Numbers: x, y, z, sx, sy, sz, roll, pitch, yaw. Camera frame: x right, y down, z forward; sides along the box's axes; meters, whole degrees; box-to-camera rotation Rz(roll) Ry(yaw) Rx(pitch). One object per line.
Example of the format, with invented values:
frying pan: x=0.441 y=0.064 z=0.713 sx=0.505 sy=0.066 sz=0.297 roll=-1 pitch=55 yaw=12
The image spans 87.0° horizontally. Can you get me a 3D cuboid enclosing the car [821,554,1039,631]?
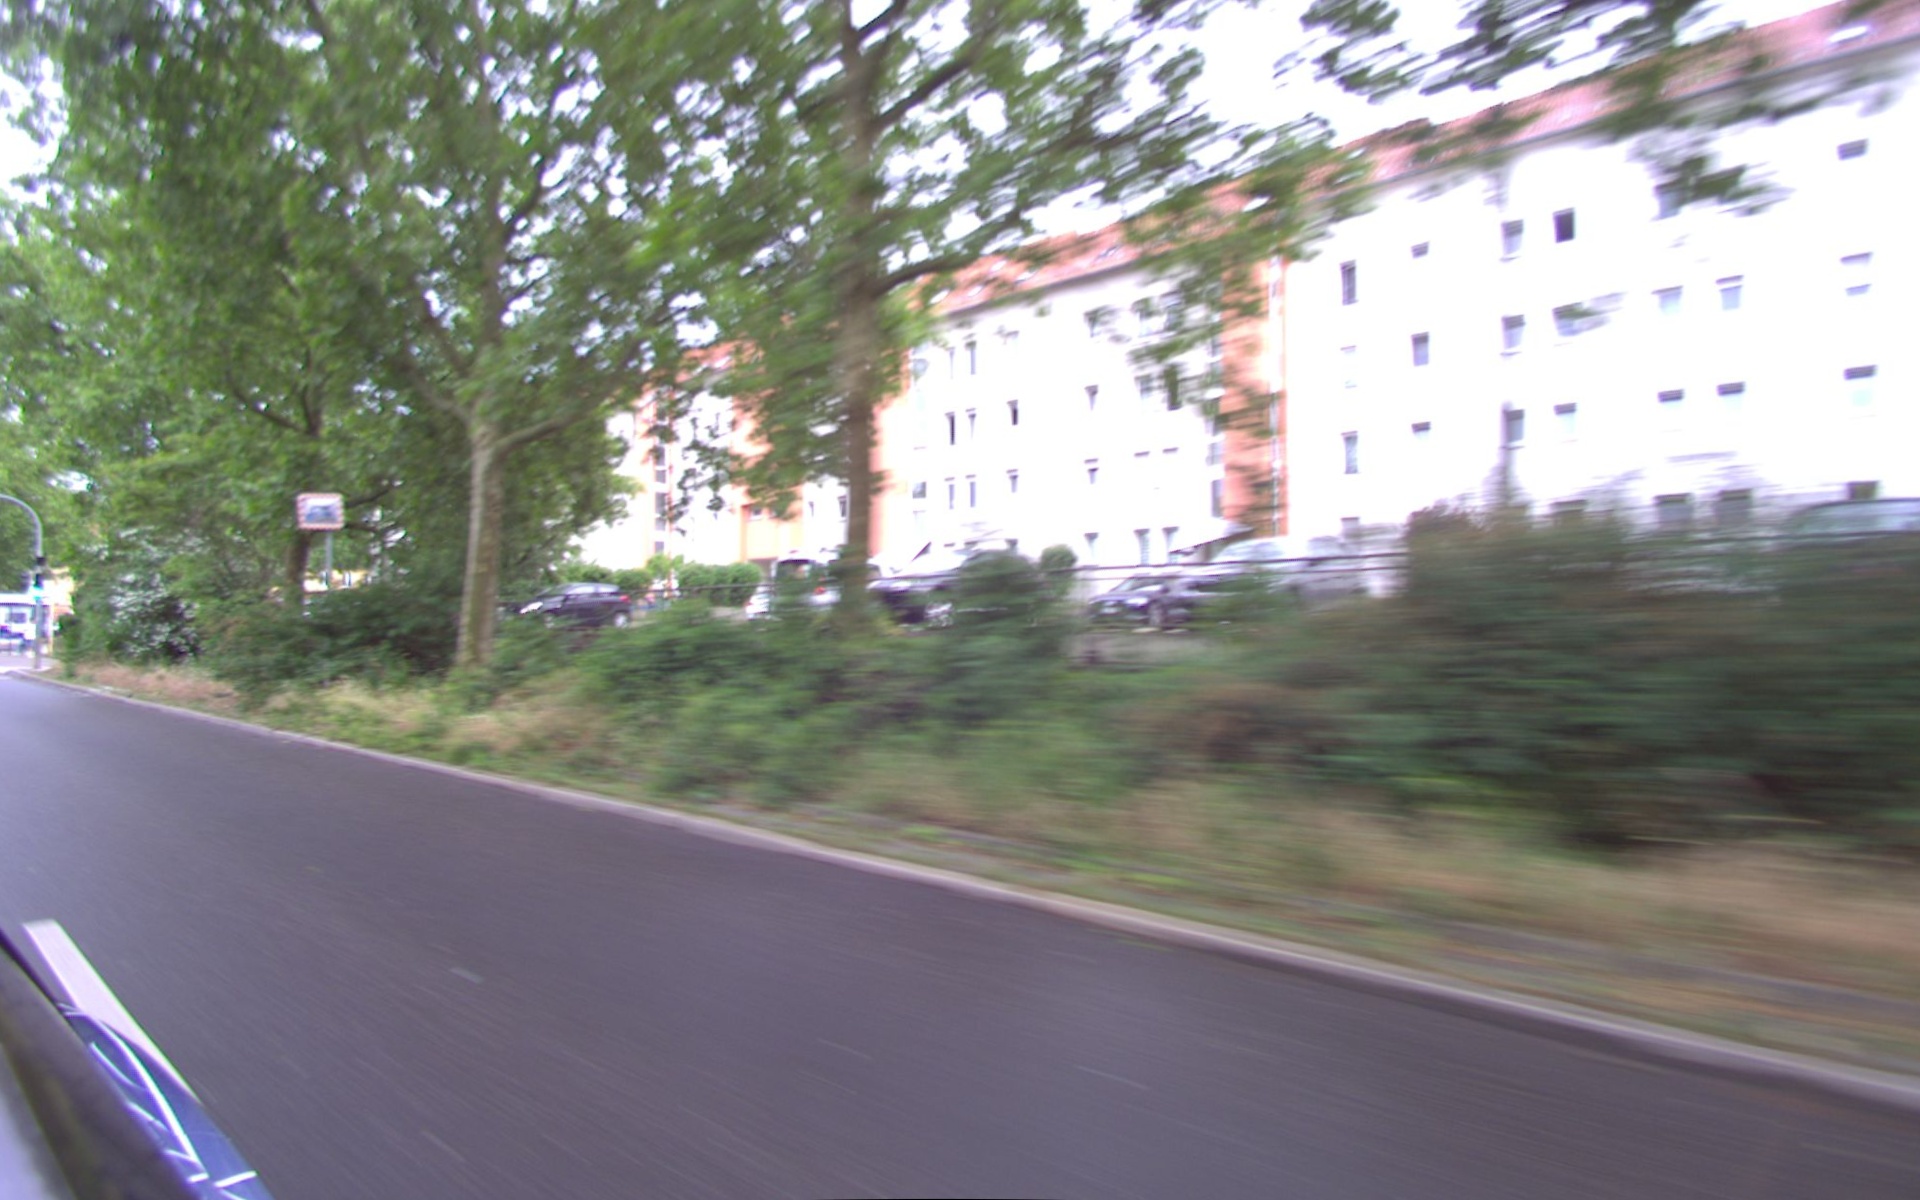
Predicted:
car: x=-0.462 y=-0.091 z=19.790 sx=1.855 sy=1.332 sz=4.400 roll=-1 pitch=-1 yaw=39

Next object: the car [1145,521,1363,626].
car: x=4.615 y=-0.317 z=15.553 sx=1.829 sy=1.385 sz=3.947 roll=-1 pitch=-1 yaw=39

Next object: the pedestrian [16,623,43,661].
pedestrian: x=-40.766 y=1.857 z=44.338 sx=0.607 sy=1.610 sz=0.733 roll=1 pitch=-4 yaw=44

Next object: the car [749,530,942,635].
car: x=-2.356 y=-0.284 z=21.683 sx=1.717 sy=2.029 sz=4.127 roll=-1 pitch=-2 yaw=38

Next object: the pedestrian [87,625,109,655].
pedestrian: x=-47.893 y=2.217 z=56.235 sx=0.833 sy=1.622 sz=0.748 roll=1 pitch=1 yaw=37

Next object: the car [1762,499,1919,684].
car: x=9.930 y=-0.099 z=10.818 sx=1.999 sy=1.684 sz=3.946 roll=1 pitch=1 yaw=40

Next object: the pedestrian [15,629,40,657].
pedestrian: x=-44.443 y=2.045 z=48.228 sx=0.641 sy=1.327 sz=0.766 roll=1 pitch=-2 yaw=44
